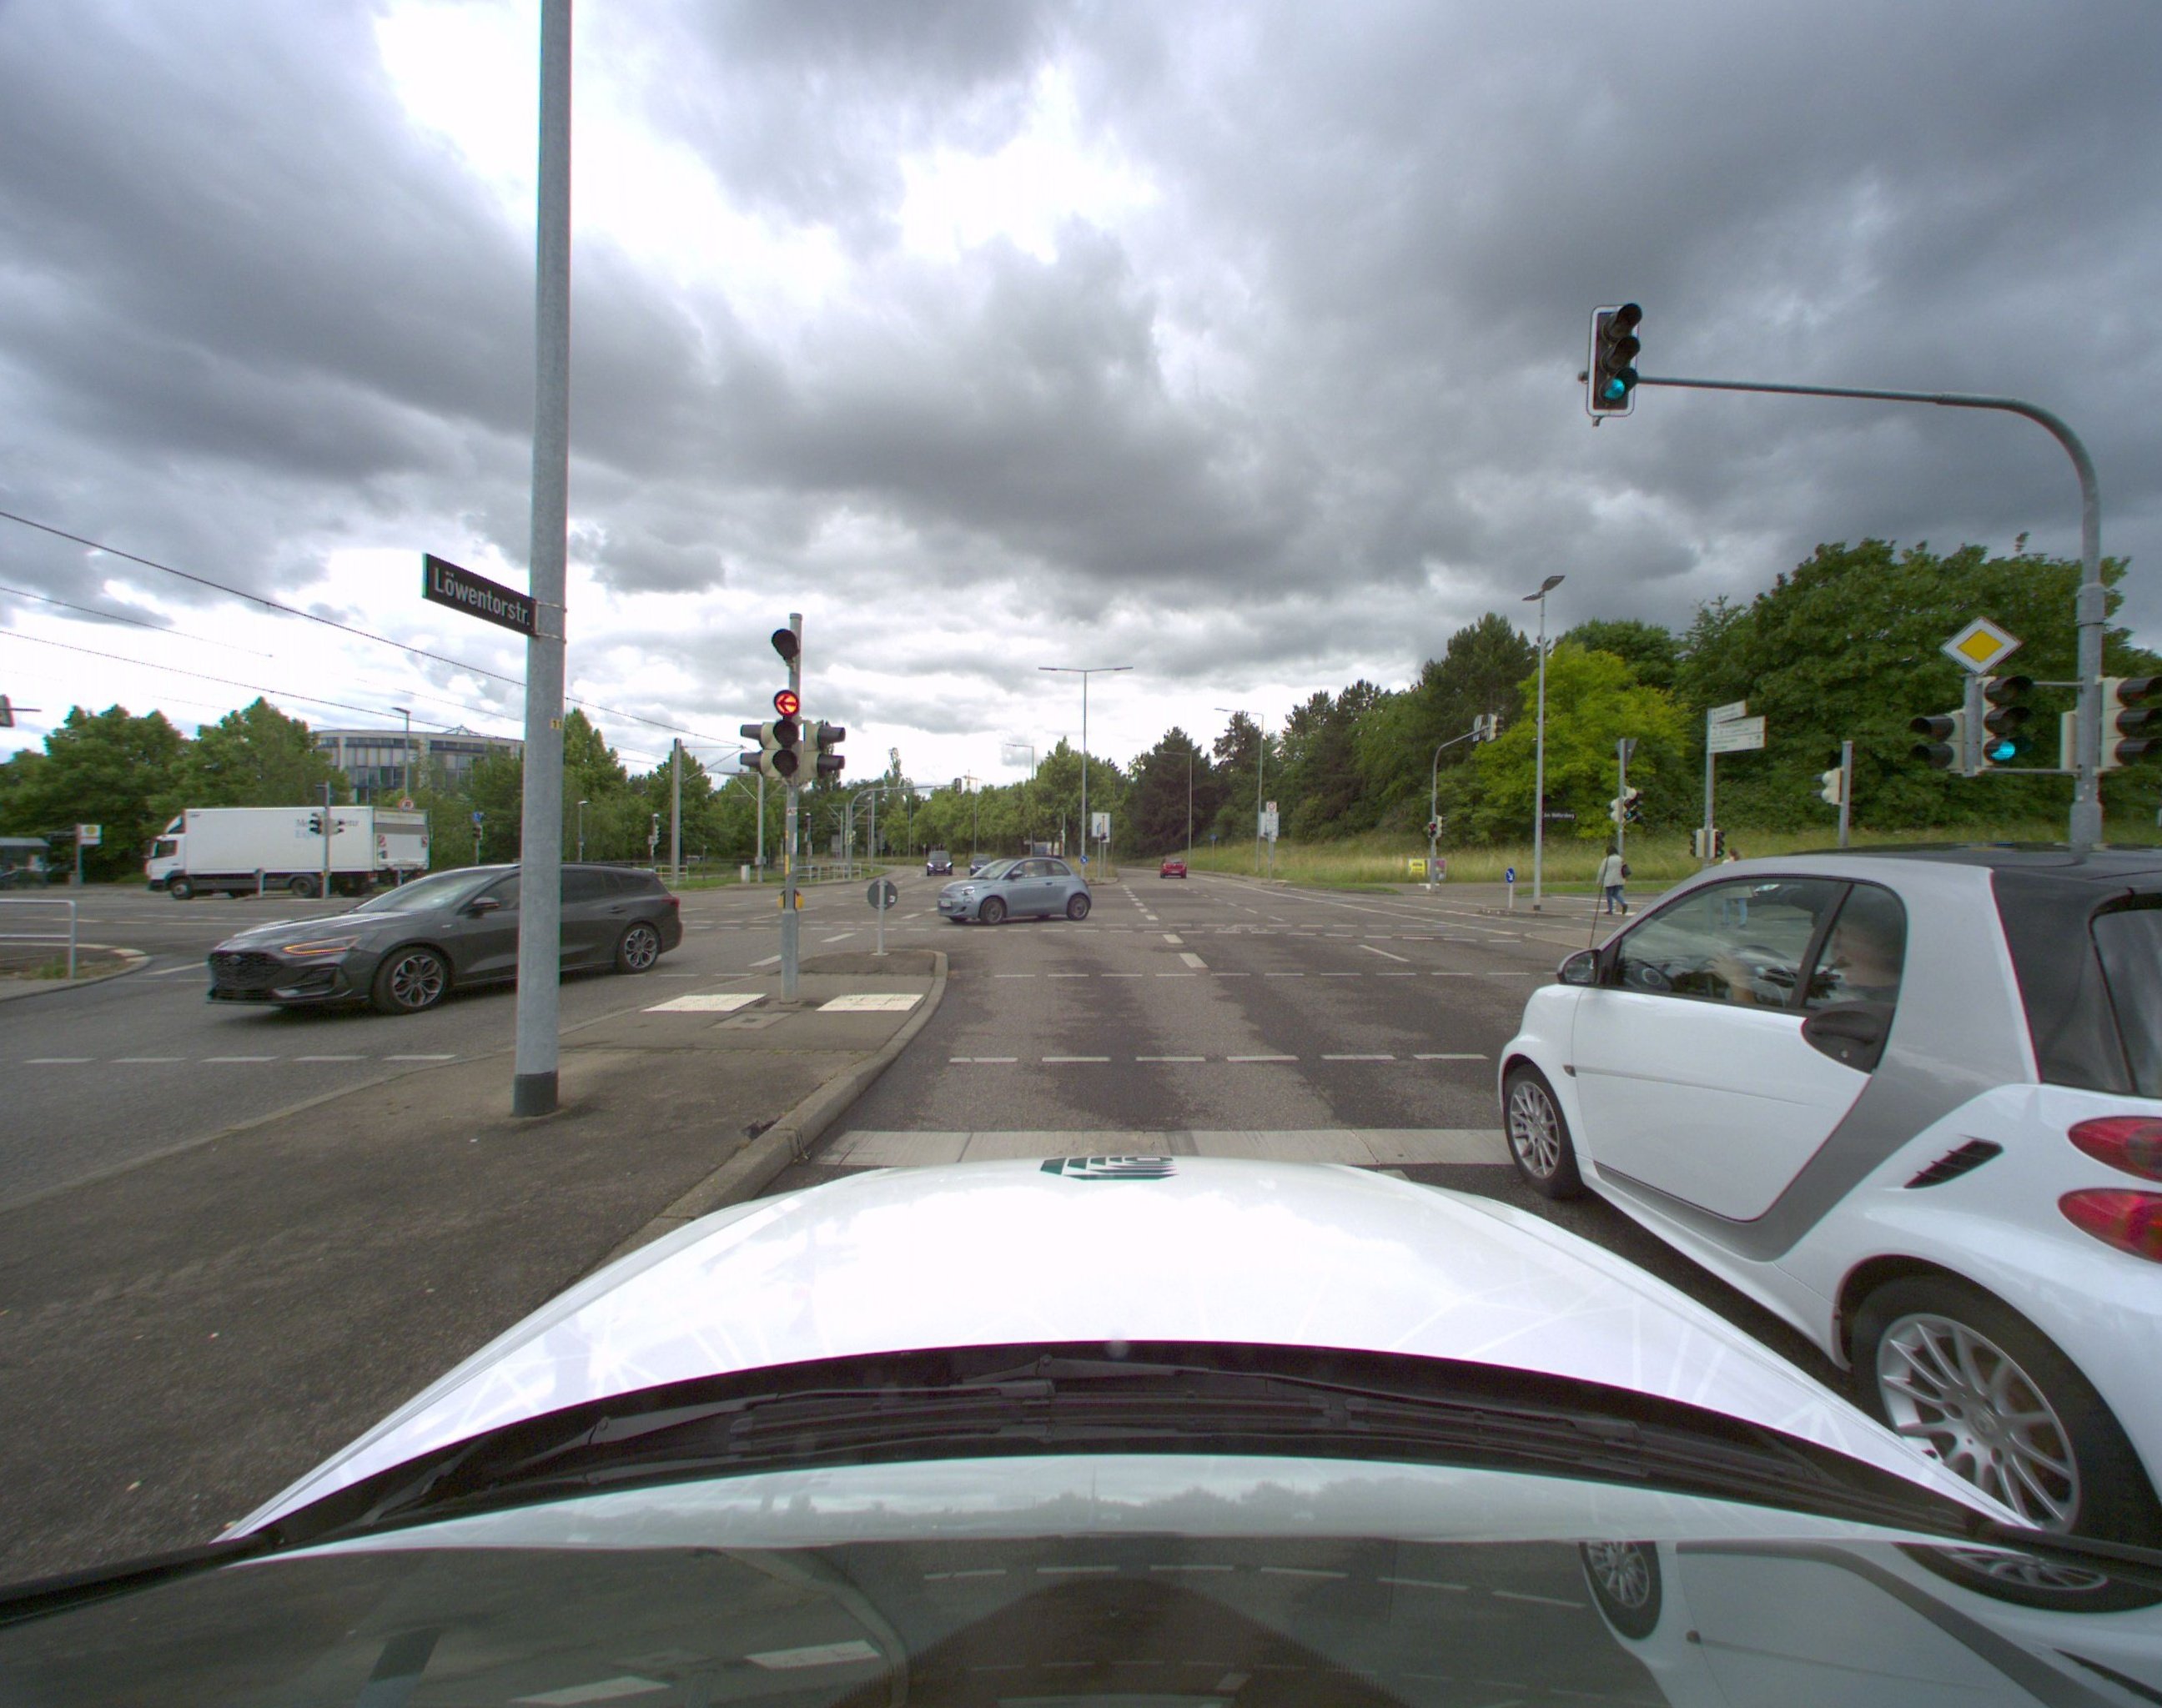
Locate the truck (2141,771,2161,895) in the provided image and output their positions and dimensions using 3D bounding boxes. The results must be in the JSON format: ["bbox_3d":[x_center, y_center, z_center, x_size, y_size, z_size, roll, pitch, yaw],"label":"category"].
[{"bbox_3d":[33.445,-0.621,21.929,5.971,3.486,2.694,0,-1,4],"label":"truck"}]

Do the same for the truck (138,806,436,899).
[{"bbox_3d":[-32.022,-0.056,33.109,9.219,3.532,3.017,0,0,1],"label":"truck"}]

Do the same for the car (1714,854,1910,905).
[{"bbox_3d":[20.302,0.703,22.754,3.859,1.338,1.698,0,-1,4],"label":"car"}]

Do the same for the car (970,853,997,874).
[{"bbox_3d":[-7.264,0.677,61.002,1.732,1.508,3.656,0,-1,-3],"label":"car"}]

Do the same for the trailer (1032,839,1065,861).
[{"bbox_3d":[-4.459,-0.513,110.985,2.755,3.012,6.046,0,-1,-20],"label":"trailer"}]

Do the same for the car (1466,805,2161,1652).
[{"bbox_3d":[2.733,0.677,2.826,1.585,1.516,2.768,0,-1,3],"label":"car"}]

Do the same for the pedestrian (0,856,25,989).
[{"bbox_3d":[-12.846,0.795,9.288,0.632,1.536,0.719,0,-1,-2],"label":"pedestrian"}]

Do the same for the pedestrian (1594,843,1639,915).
[{"bbox_3d":[12.667,0.581,19.275,0.640,1.662,0.715,0,-1,8],"label":"pedestrian"}]

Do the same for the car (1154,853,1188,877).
[{"bbox_3d":[6.293,0.779,57.361,1.780,1.603,3.883,0,-1,-3],"label":"car"}]

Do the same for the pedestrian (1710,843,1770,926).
[{"bbox_3d":[13.148,0.601,16.266,0.640,1.612,0.715,0,-1,7],"label":"pedestrian"}]

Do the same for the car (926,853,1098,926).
[{"bbox_3d":[-1.568,0.755,18.978,3.617,1.528,1.742,0,-1,-37],"label":"car"}]

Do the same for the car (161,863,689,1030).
[{"bbox_3d":[-7.006,0.833,9.440,1.855,1.424,4.453,-1,-1,18],"label":"car"}]

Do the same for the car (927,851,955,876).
[{"bbox_3d":[-10.714,0.674,62.670,1.886,1.812,5.079,-1,0,-7],"label":"car"}]
